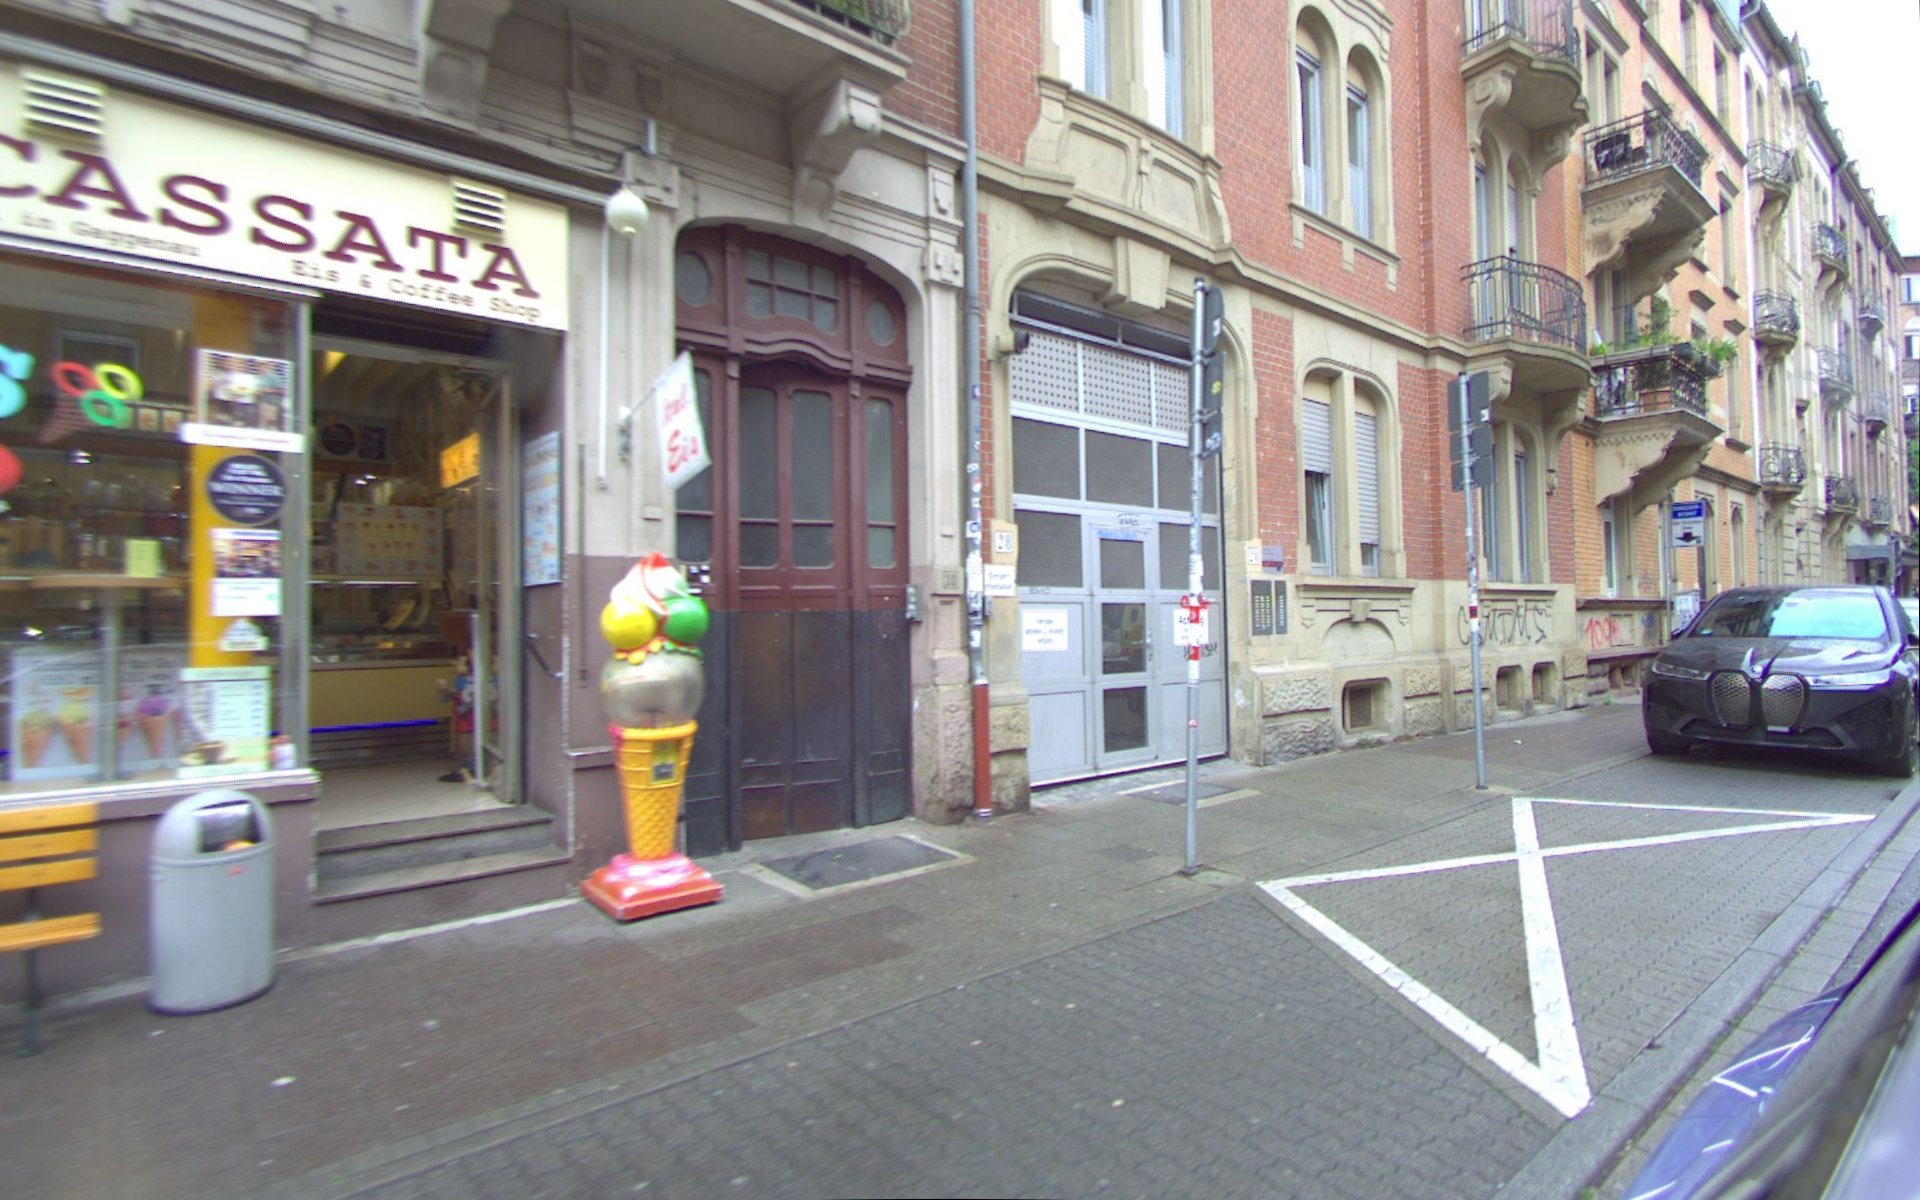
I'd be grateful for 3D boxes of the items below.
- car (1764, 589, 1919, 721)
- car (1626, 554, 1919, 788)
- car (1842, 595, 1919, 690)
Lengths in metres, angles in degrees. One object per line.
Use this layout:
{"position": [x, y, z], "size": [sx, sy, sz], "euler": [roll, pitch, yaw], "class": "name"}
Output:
{"position": [12.742, 0.653, 13.918], "size": [4.268, 1.581, 1.875], "euler": [0, 0, -41], "class": "car"}
{"position": [8.515, 0.545, 10.116], "size": [4.744, 1.802, 1.996], "euler": [0, -1, -42], "class": "car"}
{"position": [16.649, 0.691, 17.251], "size": [4.404, 1.485, 1.790], "euler": [1, -2, -41], "class": "car"}
